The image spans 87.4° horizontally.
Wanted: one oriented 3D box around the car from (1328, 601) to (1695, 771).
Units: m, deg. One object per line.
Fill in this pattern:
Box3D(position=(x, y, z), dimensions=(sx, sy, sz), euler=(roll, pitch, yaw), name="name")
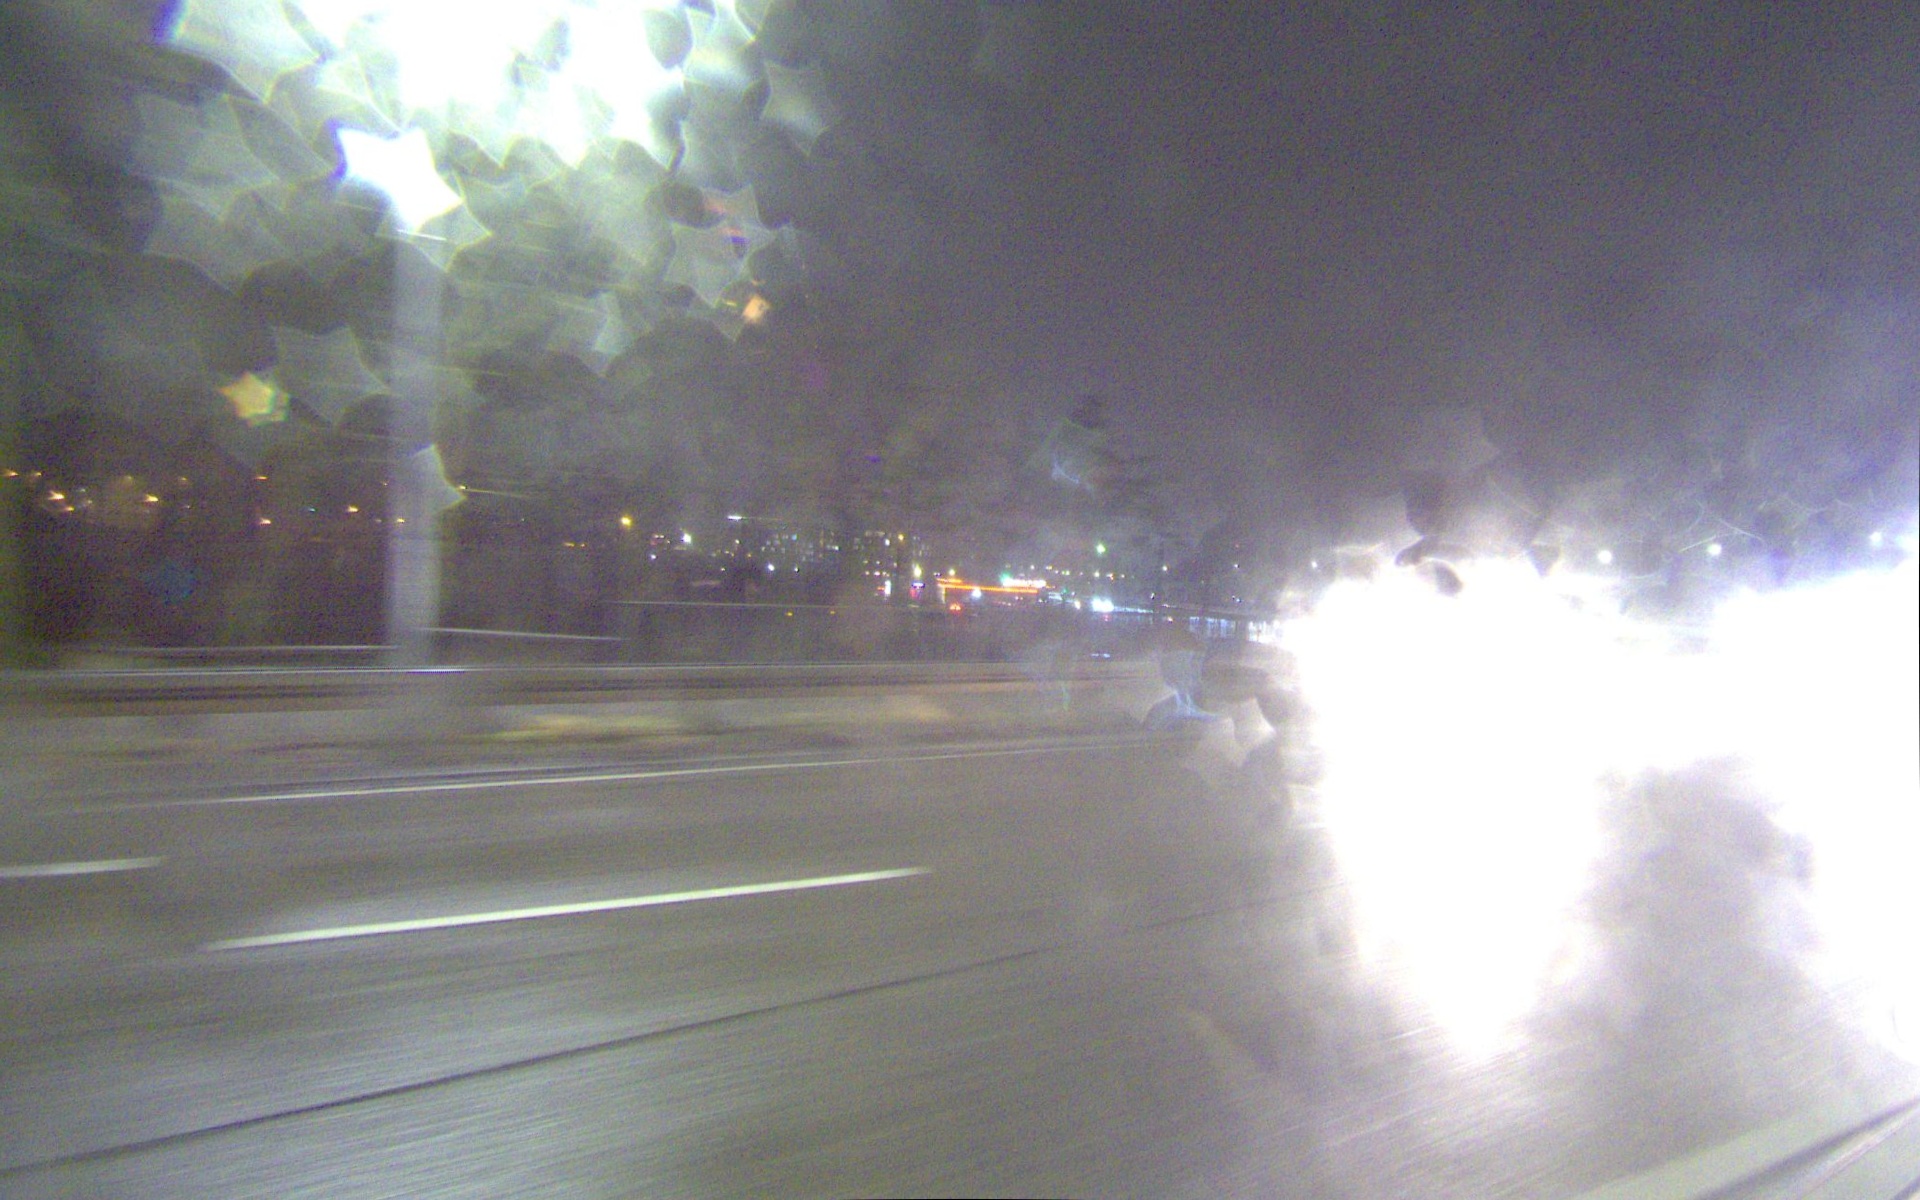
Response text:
Box3D(position=(6.063, 0.822, 10.965), dimensions=(3.902, 1.537, 1.758), euler=(1, 0, -30), name="car")
